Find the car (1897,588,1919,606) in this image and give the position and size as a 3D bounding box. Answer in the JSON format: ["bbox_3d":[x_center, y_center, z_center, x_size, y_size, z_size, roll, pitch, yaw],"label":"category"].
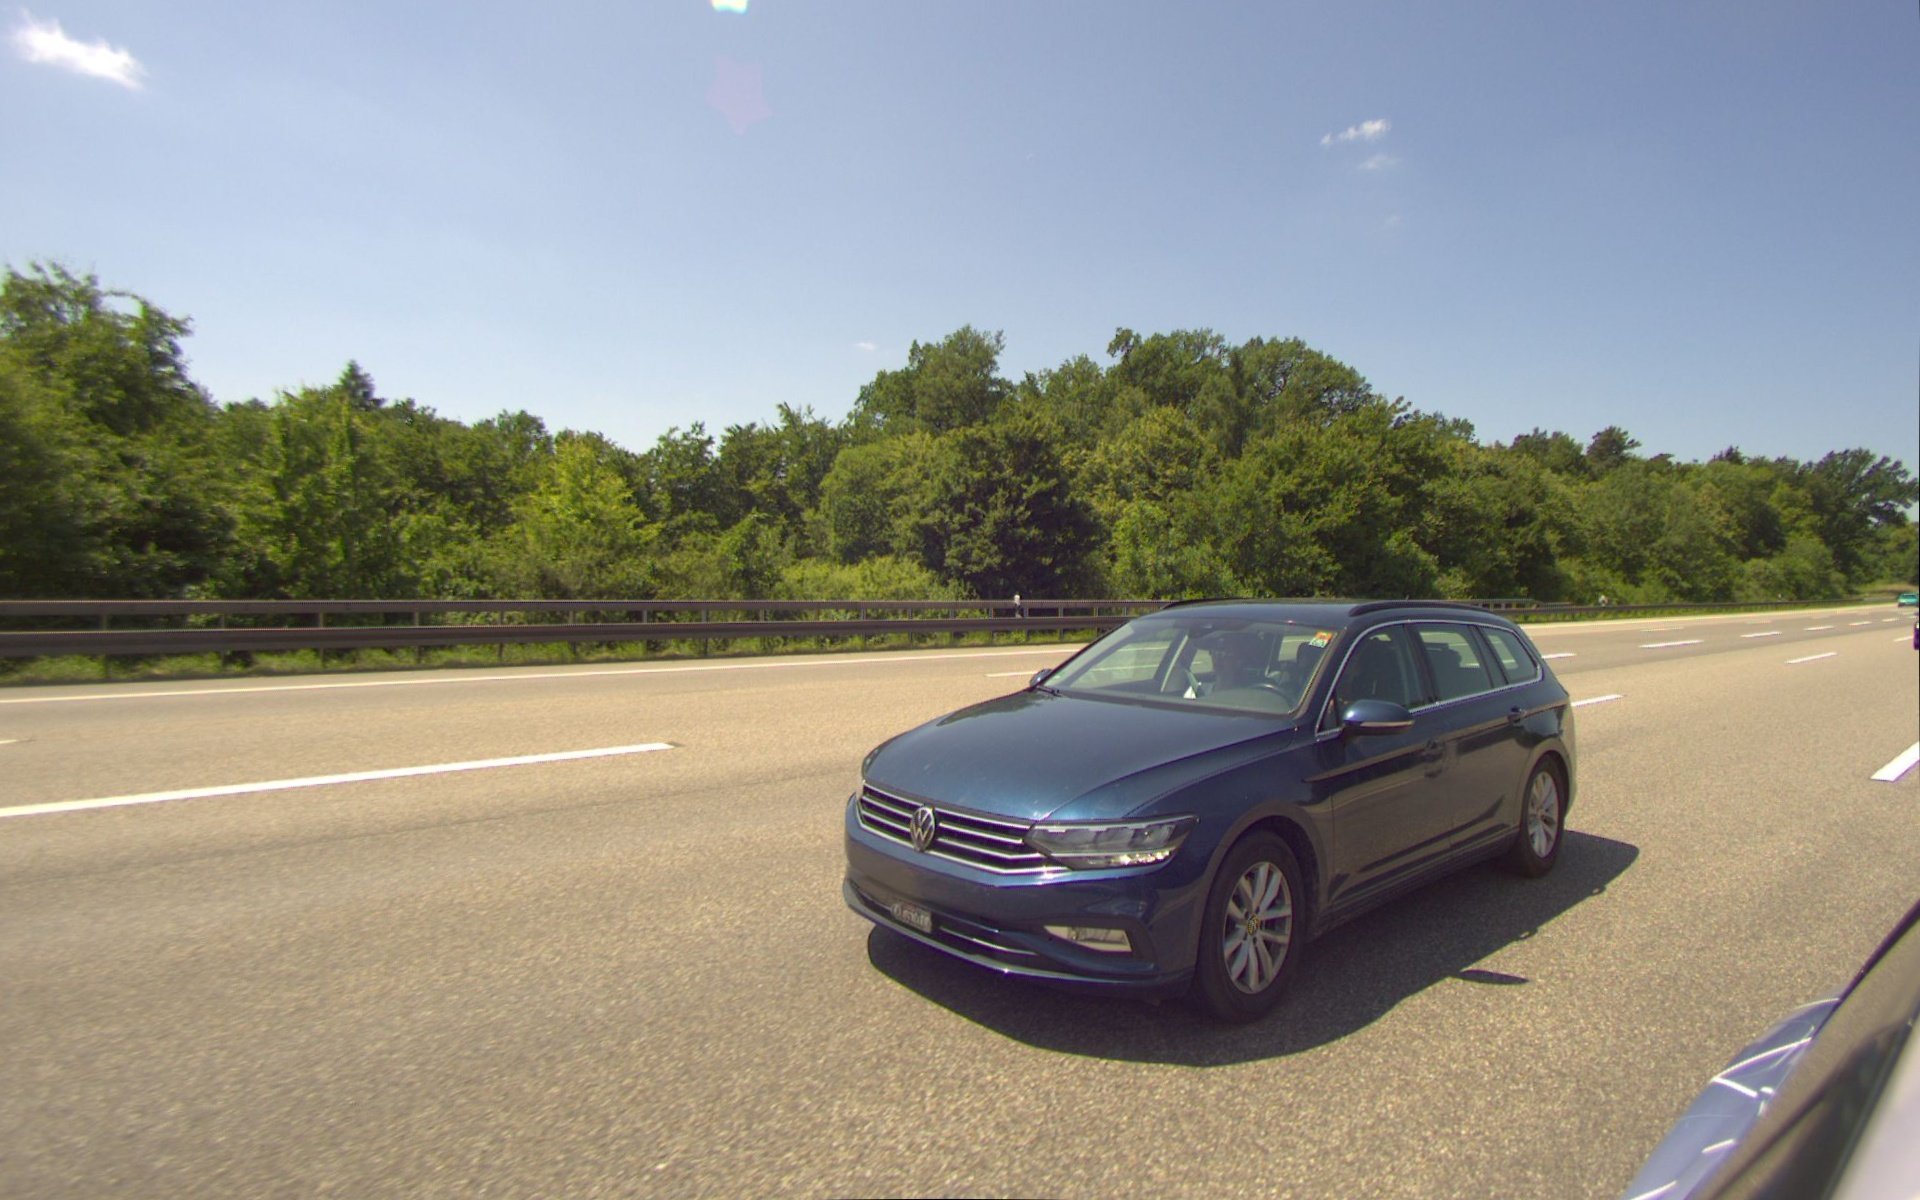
[{"bbox_3d":[99.064,-0.285,105.029,4.053,1.700,1.999,-1,4,-39],"label":"car"}]

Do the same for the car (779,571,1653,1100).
[{"bbox_3d":[1.671,0.632,5.084,4.873,1.465,1.733,0,2,-40],"label":"car"}]
